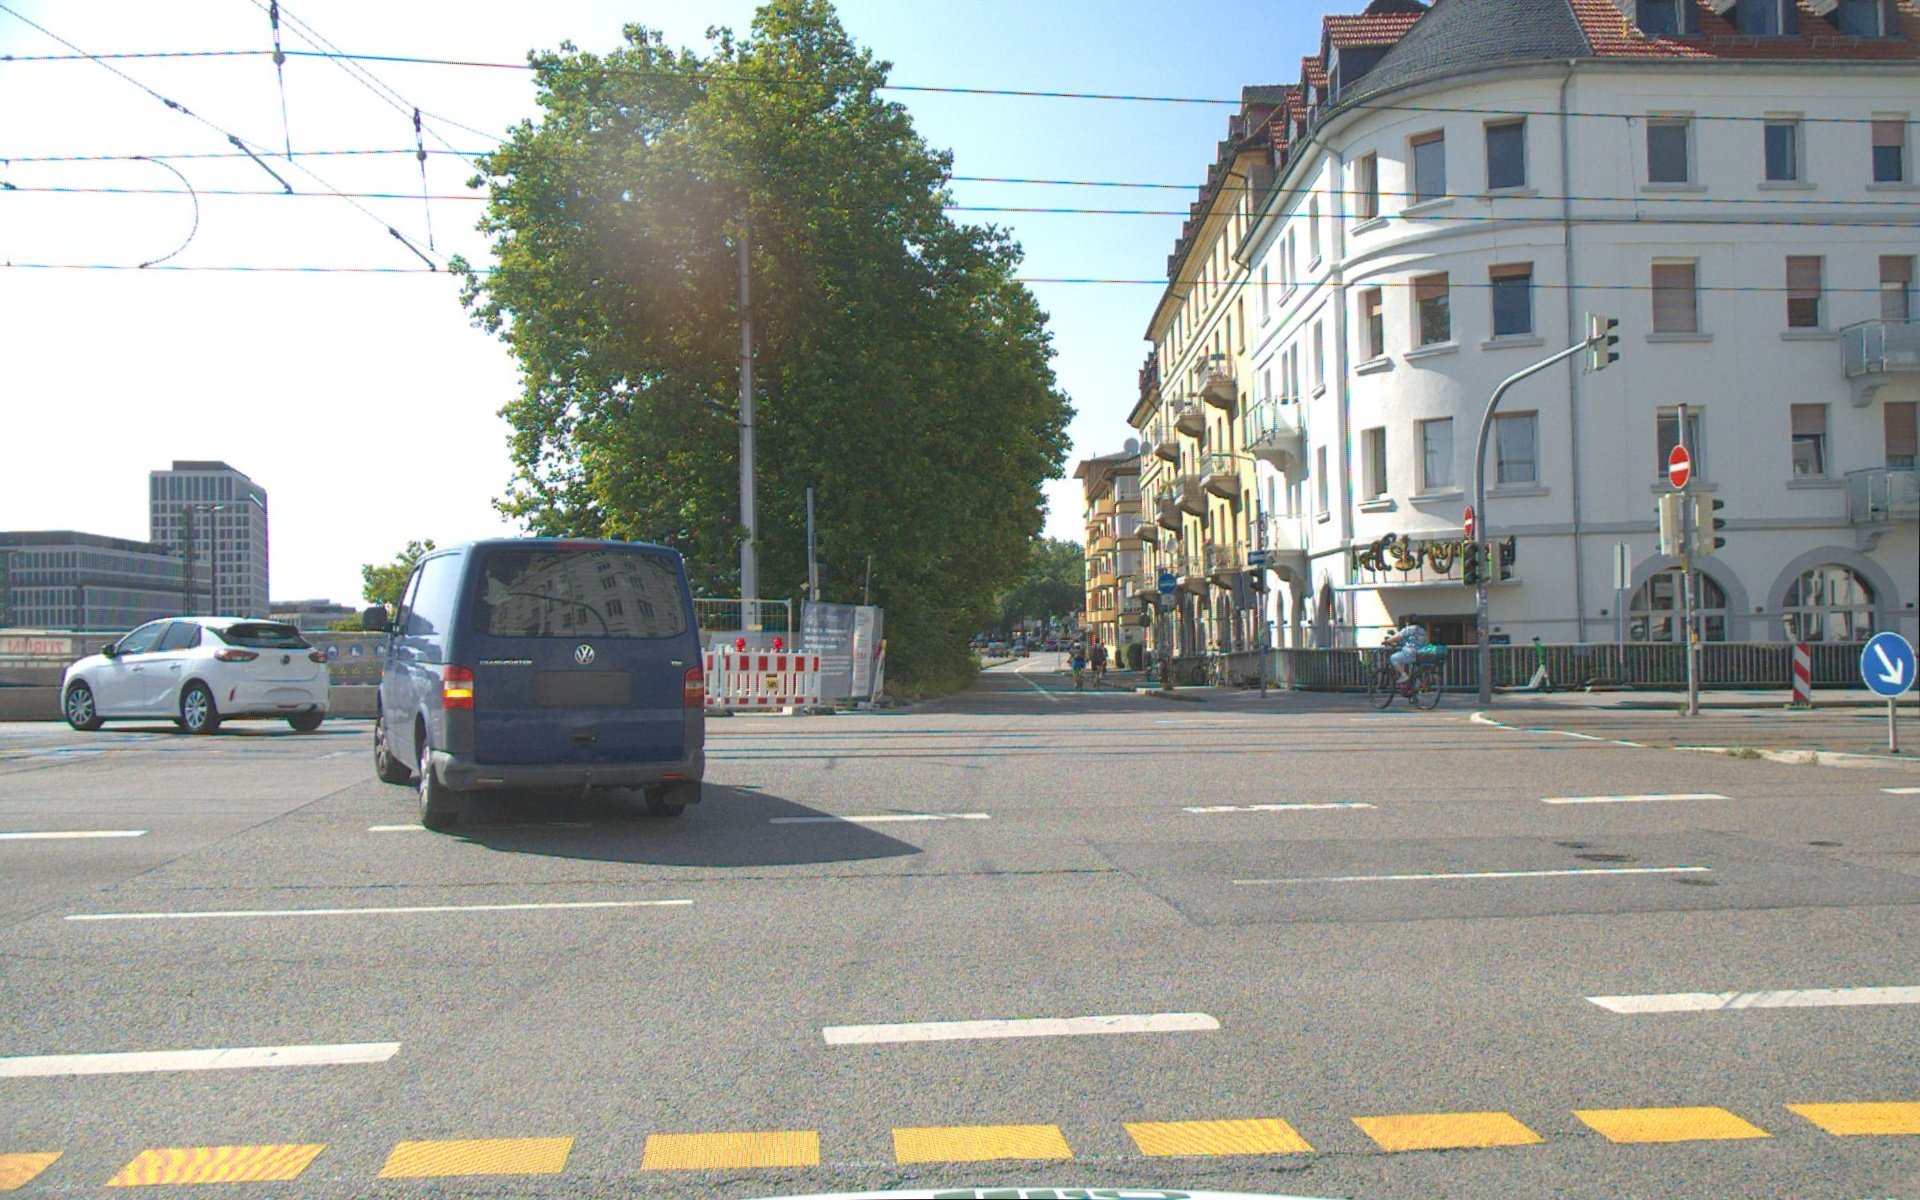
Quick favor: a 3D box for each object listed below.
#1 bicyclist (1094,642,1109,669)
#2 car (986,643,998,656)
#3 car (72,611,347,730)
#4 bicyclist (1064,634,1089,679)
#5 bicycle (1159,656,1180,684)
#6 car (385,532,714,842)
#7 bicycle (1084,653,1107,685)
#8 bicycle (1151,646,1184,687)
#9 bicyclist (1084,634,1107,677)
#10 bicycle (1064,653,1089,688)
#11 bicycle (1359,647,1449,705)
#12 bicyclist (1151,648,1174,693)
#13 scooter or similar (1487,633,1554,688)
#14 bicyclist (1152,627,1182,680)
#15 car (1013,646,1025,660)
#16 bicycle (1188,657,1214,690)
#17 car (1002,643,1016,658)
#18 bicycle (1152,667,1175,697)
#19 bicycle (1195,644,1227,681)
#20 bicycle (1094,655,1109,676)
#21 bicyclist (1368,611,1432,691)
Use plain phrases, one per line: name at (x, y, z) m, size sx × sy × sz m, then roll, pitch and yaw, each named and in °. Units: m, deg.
bicyclist at (8.096, 3.182, 94.745) m, size 0.820 × 1.564 × 1.024 m, roll 0°, pitch -2°, yaw 5°
car at (4.171, 6.400, 214.018) m, size 1.592 × 1.651 × 3.696 m, roll 0°, pitch 0°, yaw 1°
car at (-9.724, 0.912, 21.406) m, size 3.340 × 1.430 × 1.718 m, roll -2°, pitch -3°, yaw 33°
bicyclist at (4.022, 1.951, 57.139) m, size 0.820 × 1.564 × 1.024 m, roll 0°, pitch -2°, yaw 5°
bicycle at (8.594, 2.866, 67.866) m, size 0.666 × 1.094 × 2.293 m, roll -1°, pitch -1°, yaw 3°
car at (-3.265, 0.550, 12.557) m, size 1.791 × 1.939 × 4.024 m, roll 0°, pitch 0°, yaw -23°
bicycle at (4.965, 2.514, 60.427) m, size 0.820 × 1.157 × 2.860 m, roll 0°, pitch -2°, yaw 5°
bicycle at (6.111, 1.959, 48.820) m, size 0.820 × 1.157 × 2.860 m, roll 0°, pitch -2°, yaw 5°
bicyclist at (4.958, 2.028, 60.515) m, size 0.820 × 1.564 × 1.024 m, roll 0°, pitch -2°, yaw 5°
bicycle at (4.025, 2.416, 57.082) m, size 0.820 × 1.157 × 2.860 m, roll 0°, pitch -2°, yaw 5°
bicycle at (8.031, 1.370, 30.045) m, size 0.848 × 1.007 × 2.243 m, roll 0°, pitch -2°, yaw -5°
bicyclist at (7.348, 2.560, 60.023) m, size 0.693 × 1.577 × 0.785 m, roll -3°, pitch -1°, yaw 3°
scooter or similar at (11.721, 1.257, 34.603) m, size 1.273 × 1.137 × 0.339 m, roll -1°, pitch -1°, yaw 14°
bicyclist at (6.088, 1.573, 48.736) m, size 0.820 × 1.534 × 0.953 m, roll 0°, pitch -2°, yaw 5°
car at (7.605, 6.844, 214.097) m, size 1.592 × 1.651 × 3.696 m, roll 0°, pitch 0°, yaw 1°
bicycle at (8.303, 2.532, 57.067) m, size 0.666 × 1.094 × 2.293 m, roll -1°, pitch -1°, yaw 3°
car at (5.832, 6.026, 196.246) m, size 1.592 × 1.651 × 3.696 m, roll 0°, pitch 0°, yaw 1°
bicycle at (7.367, 2.967, 60.003) m, size 0.693 × 1.008 × 1.820 m, roll -3°, pitch -1°, yaw 4°
bicycle at (8.141, 2.031, 53.755) m, size 0.820 × 1.157 × 2.860 m, roll 0°, pitch -2°, yaw 5°
bicycle at (8.109, 3.758, 94.701) m, size 0.820 × 1.157 × 2.860 m, roll 0°, pitch -2°, yaw 5°
bicyclist at (8.020, 0.929, 30.165) m, size 0.848 × 1.440 × 0.916 m, roll 0°, pitch -2°, yaw -5°
